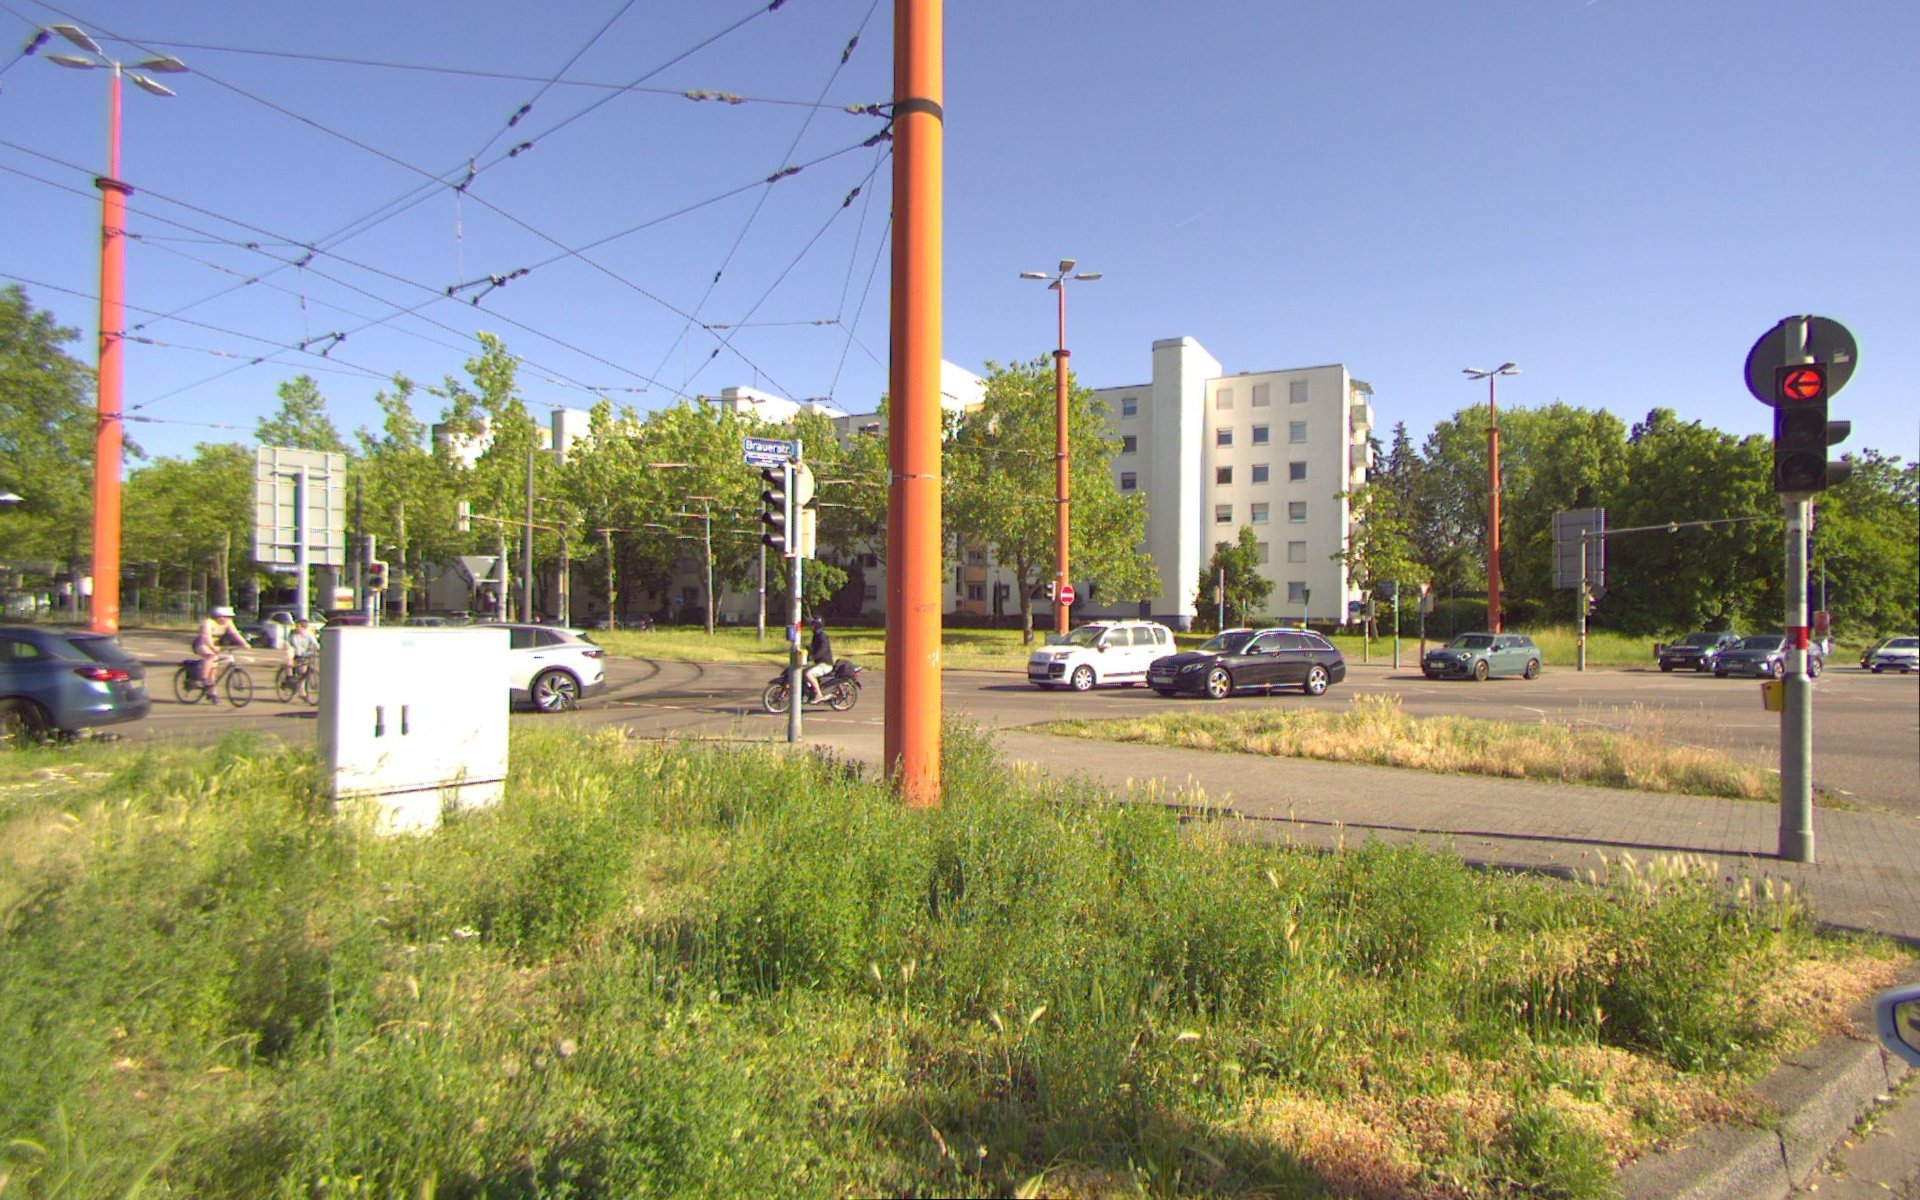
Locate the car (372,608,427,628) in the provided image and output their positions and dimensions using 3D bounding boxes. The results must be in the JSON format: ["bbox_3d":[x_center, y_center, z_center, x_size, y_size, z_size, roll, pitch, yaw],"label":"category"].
[{"bbox_3d":[-50.985,1.634,91.395,3.934,1.617,1.890,2,0,-15],"label":"car"}]

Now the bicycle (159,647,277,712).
[{"bbox_3d":[-13.913,1.470,18.828,2.313,1.095,0.474,1,0,17],"label":"bicycle"}]

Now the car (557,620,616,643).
[{"bbox_3d":[-28.126,2.347,75.682,3.934,1.617,1.890,2,0,-15],"label":"car"}]

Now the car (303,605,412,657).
[{"bbox_3d":[-24.280,1.215,40.447,4.200,1.926,1.996,1,0,31],"label":"car"}]

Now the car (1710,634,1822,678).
[{"bbox_3d":[27.465,1.882,34.207,4.211,1.395,1.541,1,-1,-30],"label":"car"}]

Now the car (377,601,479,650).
[{"bbox_3d":[-23.113,1.076,43.625,4.200,1.926,1.996,1,0,31],"label":"car"}]

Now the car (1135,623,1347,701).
[{"bbox_3d":[6.235,1.330,22.169,4.551,1.505,1.867,2,0,-30],"label":"car"}]

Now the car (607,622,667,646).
[{"bbox_3d":[-23.173,2.455,72.242,3.934,1.617,1.890,2,0,-15],"label":"car"}]

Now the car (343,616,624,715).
[{"bbox_3d":[-8.532,1.148,18.253,4.381,1.622,1.832,2,-2,-27],"label":"car"}]

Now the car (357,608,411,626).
[{"bbox_3d":[-53.658,1.580,93.676,3.934,1.617,1.890,2,0,-15],"label":"car"}]

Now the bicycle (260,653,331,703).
[{"bbox_3d":[-13.167,1.536,19.900,1.595,0.894,0.368,1,0,24],"label":"bicycle"}]

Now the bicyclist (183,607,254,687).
[{"bbox_3d":[-13.894,0.863,18.834,0.742,1.449,0.752,1,0,16],"label":"bicyclist"}]

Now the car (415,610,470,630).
[{"bbox_3d":[-45.120,1.764,87.632,3.934,1.617,1.890,2,0,-15],"label":"car"}]

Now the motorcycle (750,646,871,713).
[{"bbox_3d":[-2.664,1.409,17.972,2.065,1.146,0.420,2,0,-22],"label":"motorcycle"}]

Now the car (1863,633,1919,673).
[{"bbox_3d":[37.529,2.057,39.643,3.901,1.478,1.598,1,-1,-29],"label":"car"}]

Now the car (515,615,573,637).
[{"bbox_3d":[-32.847,2.034,79.413,3.934,1.617,1.890,2,0,-15],"label":"car"}]

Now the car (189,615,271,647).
[{"bbox_3d":[-34.526,1.431,47.498,3.930,1.339,1.732,1,0,31],"label":"car"}]

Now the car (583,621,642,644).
[{"bbox_3d":[-25.662,2.403,74.221,3.934,1.617,1.890,2,0,-15],"label":"car"}]

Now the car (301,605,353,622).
[{"bbox_3d":[-63.528,1.368,100.839,3.934,1.617,1.890,2,0,-15],"label":"car"}]

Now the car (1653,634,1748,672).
[{"bbox_3d":[29.181,2.090,39.578,3.838,1.452,1.538,2,-3,-29],"label":"car"}]

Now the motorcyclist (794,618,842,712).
[{"bbox_3d":[-2.552,1.143,18.012,0.631,1.621,0.833,2,0,-21],"label":"motorcyclist"}]

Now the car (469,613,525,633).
[{"bbox_3d":[-38.551,1.913,83.774,3.934,1.617,1.890,2,0,-15],"label":"car"}]

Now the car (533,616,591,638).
[{"bbox_3d":[-30.767,2.077,77.769,3.934,1.617,1.890,2,0,-15],"label":"car"}]

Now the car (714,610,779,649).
[{"bbox_3d":[-13.833,1.897,65.041,3.934,2.341,1.889,2,0,-15],"label":"car"}]

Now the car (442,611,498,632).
[{"bbox_3d":[-41.750,1.841,85.657,3.934,1.617,1.890,2,0,-15],"label":"car"}]

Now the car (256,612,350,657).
[{"bbox_3d":[-28.924,1.486,44.208,3.930,1.773,1.909,1,0,31],"label":"car"}]

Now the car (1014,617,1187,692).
[{"bbox_3d":[3.507,1.338,24.972,4.010,1.730,1.793,2,-2,-29],"label":"car"}]

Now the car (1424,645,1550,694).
[{"bbox_3d":[16.437,2.147,31.292,4.088,1.406,1.424,2,0,-28],"label":"car"}]

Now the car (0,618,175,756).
[{"bbox_3d":[-12.571,1.021,12.213,4.406,1.615,1.986,1,-2,-27],"label":"car"}]

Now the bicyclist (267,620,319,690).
[{"bbox_3d":[-13.239,1.076,19.955,0.687,1.340,0.548,1,0,23],"label":"bicyclist"}]

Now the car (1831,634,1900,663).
[{"bbox_3d":[43.058,2.288,47.743,3.571,1.290,1.446,2,0,-31],"label":"car"}]
